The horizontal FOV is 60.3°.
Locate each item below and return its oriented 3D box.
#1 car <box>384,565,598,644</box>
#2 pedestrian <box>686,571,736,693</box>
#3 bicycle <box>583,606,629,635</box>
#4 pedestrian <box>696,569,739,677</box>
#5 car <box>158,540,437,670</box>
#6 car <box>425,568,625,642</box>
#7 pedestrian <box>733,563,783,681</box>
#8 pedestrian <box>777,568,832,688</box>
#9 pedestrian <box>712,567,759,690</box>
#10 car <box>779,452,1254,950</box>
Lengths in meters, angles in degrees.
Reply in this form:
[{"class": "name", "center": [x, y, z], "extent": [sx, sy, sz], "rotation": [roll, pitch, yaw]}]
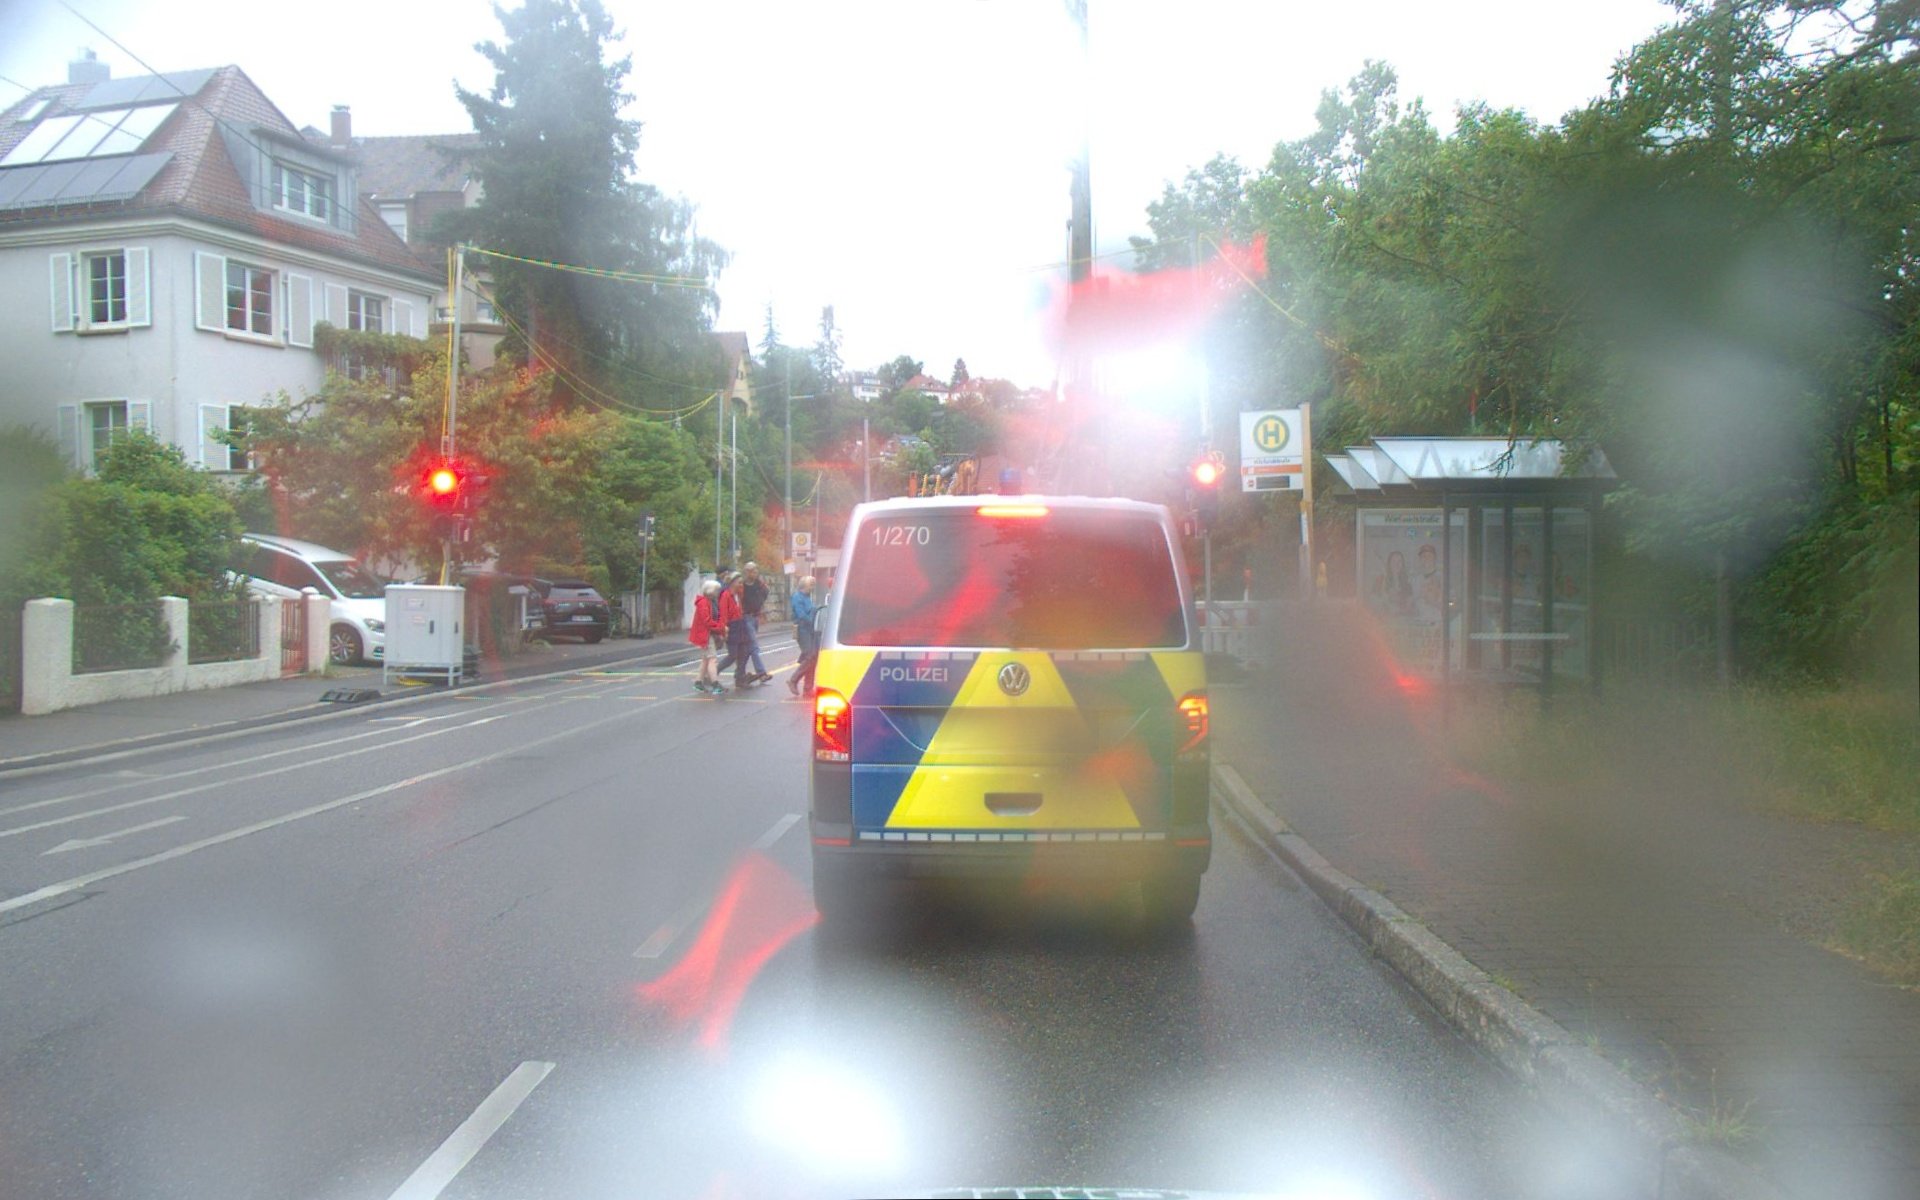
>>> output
[{"class": "car", "center": [-9.840, 0.100, 34.812], "extent": [3.902, 1.512, 1.761], "rotation": [1, -2, 10]}, {"class": "pedestrian", "center": [-3.356, 0.437, 22.323], "extent": [0.551, 1.610, 0.468], "rotation": [2, -2, 1]}, {"class": "bicycle", "center": [-8.543, 0.501, 39.917], "extent": [1.031, 0.674, 0.320], "rotation": [1, -2, 10]}, {"class": "pedestrian", "center": [-3.526, 0.337, 24.073], "extent": [0.514, 1.533, 0.429], "rotation": [2, -2, 1]}, {"class": "car", "center": [-10.914, 0.063, 27.348], "extent": [3.902, 2.049, 1.832], "rotation": [1, 0, 11]}, {"class": "car", "center": [-9.690, 0.121, 36.963], "extent": [3.902, 1.512, 1.761], "rotation": [1, -2, 10]}, {"class": "pedestrian", "center": [-3.037, 0.337, 24.883], "extent": [0.613, 1.745, 0.593], "rotation": [2, -2, 1]}, {"class": "pedestrian", "center": [-2.059, 0.375, 21.981], "extent": [0.613, 1.548, 0.593], "rotation": [2, -2, 1]}, {"class": "pedestrian", "center": [-3.150, 0.396, 23.213], "extent": [0.537, 1.697, 0.414], "rotation": [2, -2, 1]}, {"class": "car", "center": [0.164, 0.396, 9.053], "extent": [1.953, 2.049, 4.400], "rotation": [1, 1, -2]}]
